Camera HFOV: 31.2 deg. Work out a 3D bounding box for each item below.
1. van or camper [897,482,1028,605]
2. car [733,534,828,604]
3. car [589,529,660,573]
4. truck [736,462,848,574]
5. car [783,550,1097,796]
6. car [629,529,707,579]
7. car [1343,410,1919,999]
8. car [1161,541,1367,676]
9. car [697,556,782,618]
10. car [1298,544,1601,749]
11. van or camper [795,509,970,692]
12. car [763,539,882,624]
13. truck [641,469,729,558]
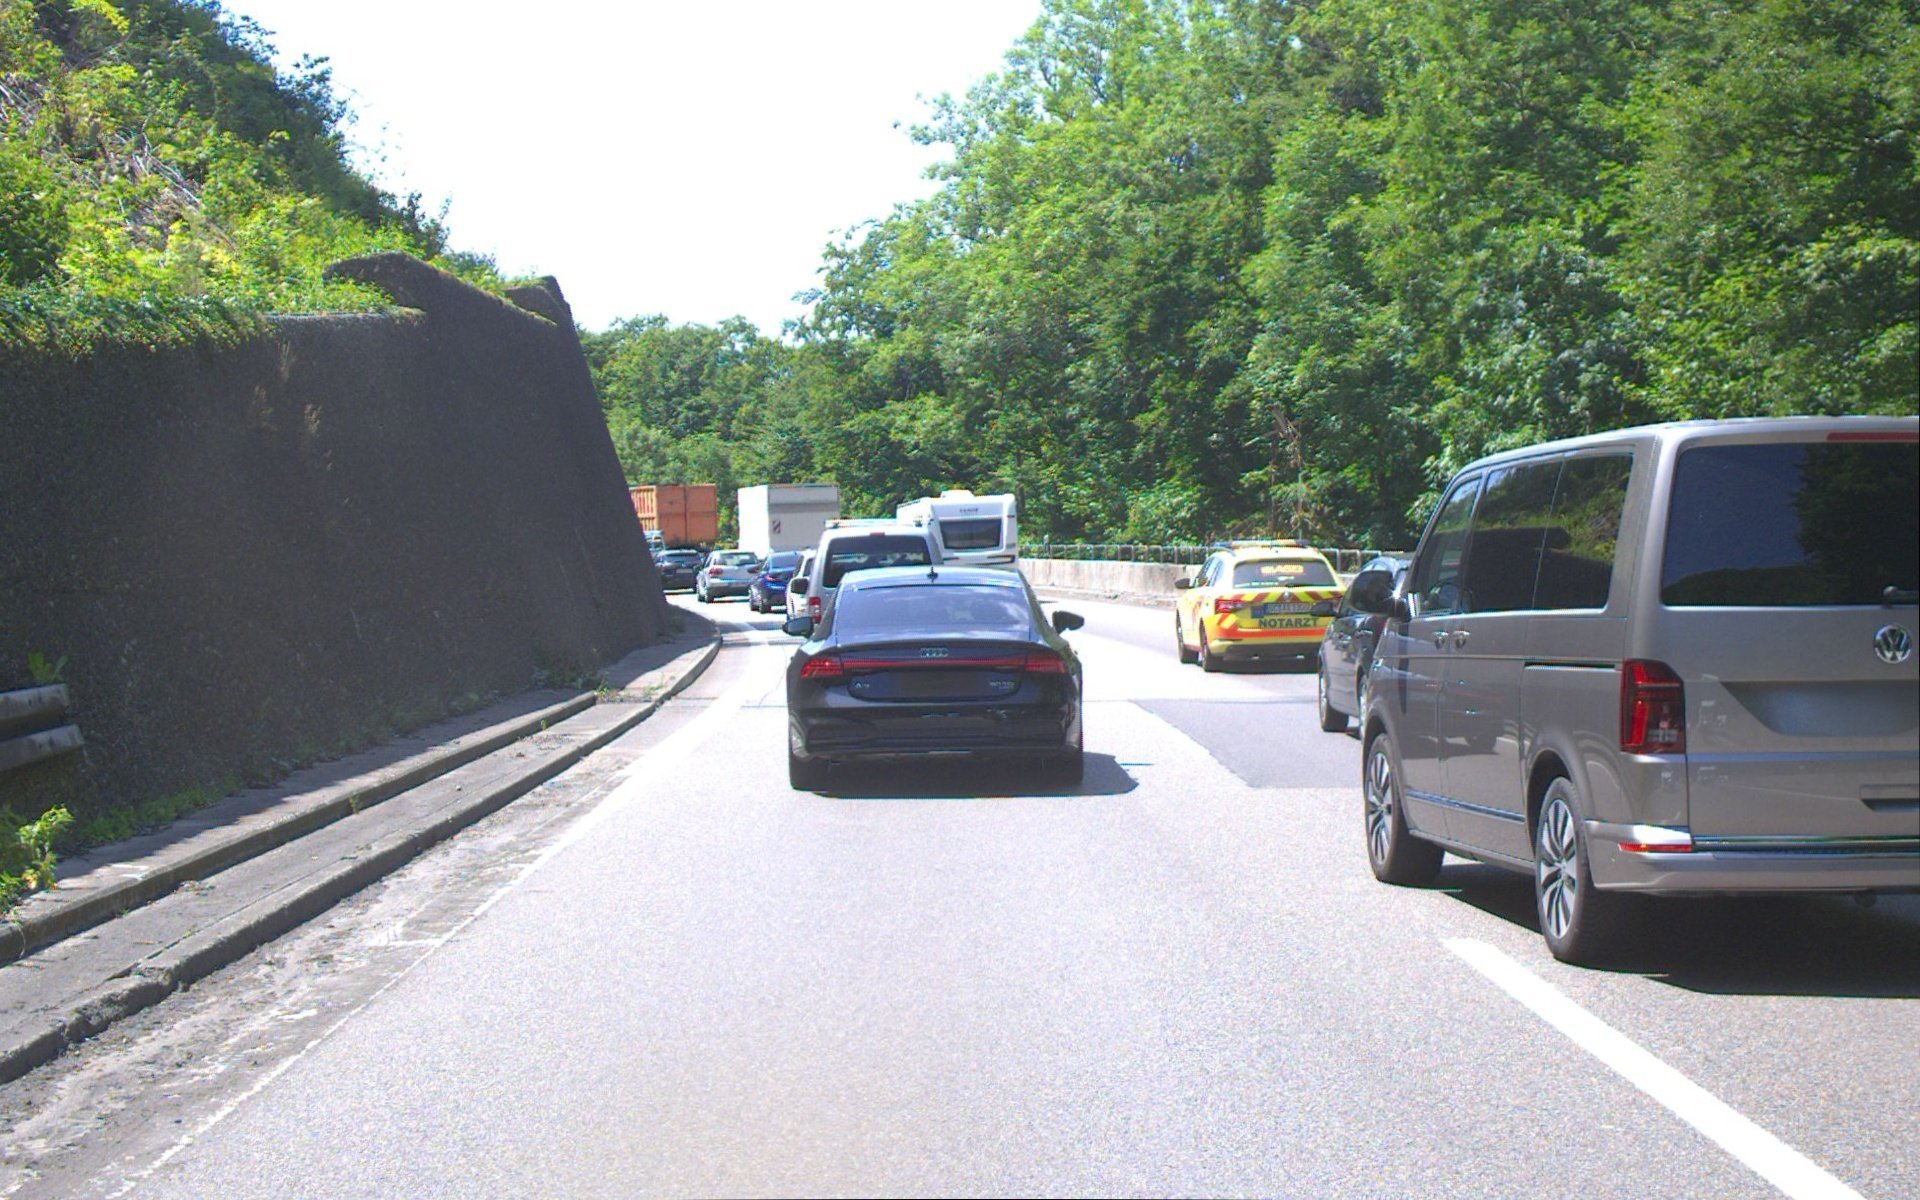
[{"bbox_3d":[0.003,-1.379,83.973,2.603,2.845,6.337,1,1,-5],"label":"van or camper"},{"bbox_3d":[-4.362,-0.770,83.113,1.857,1.614,4.001,-1,1,-9],"label":"car"},{"bbox_3d":[-12.270,-1.791,125.457,1.750,1.565,3.772,1,1,-19],"label":"car"},{"bbox_3d":[-5.984,-2.872,121.168,2.924,3.674,7.726,3,1,-9],"label":"truck"},{"bbox_3d":[-0.173,0.412,23.051,1.904,1.484,4.379,0,1,-1],"label":"car"},{"bbox_3d":[-9.417,-1.495,110.687,1.750,1.565,3.772,1,1,-17],"label":"car"},{"bbox_3d":[2.927,0.301,13.644,1.940,1.924,4.695,0,1,-4],"label":"car"},{"bbox_3d":[3.630,0.063,41.723,1.808,1.472,4.082,3,1,-4],"label":"car"},{"bbox_3d":[-6.284,-0.391,97.651,1.993,1.612,4.001,2,1,-9],"label":"car"},{"bbox_3d":[3.703,0.303,26.640,1.685,1.453,4.000,1,1,-1],"label":"car"},{"bbox_3d":[-0.876,-0.025,40.281,1.853,1.935,4.165,3,1,0],"label":"van or camper"},{"bbox_3d":[-2.705,-0.385,66.886,1.894,1.579,3.772,1,1,-8],"label":"car"},{"bbox_3d":[-11.522,-3.585,143.517,3.163,3.456,8.224,3,1,-7],"label":"truck"}]
